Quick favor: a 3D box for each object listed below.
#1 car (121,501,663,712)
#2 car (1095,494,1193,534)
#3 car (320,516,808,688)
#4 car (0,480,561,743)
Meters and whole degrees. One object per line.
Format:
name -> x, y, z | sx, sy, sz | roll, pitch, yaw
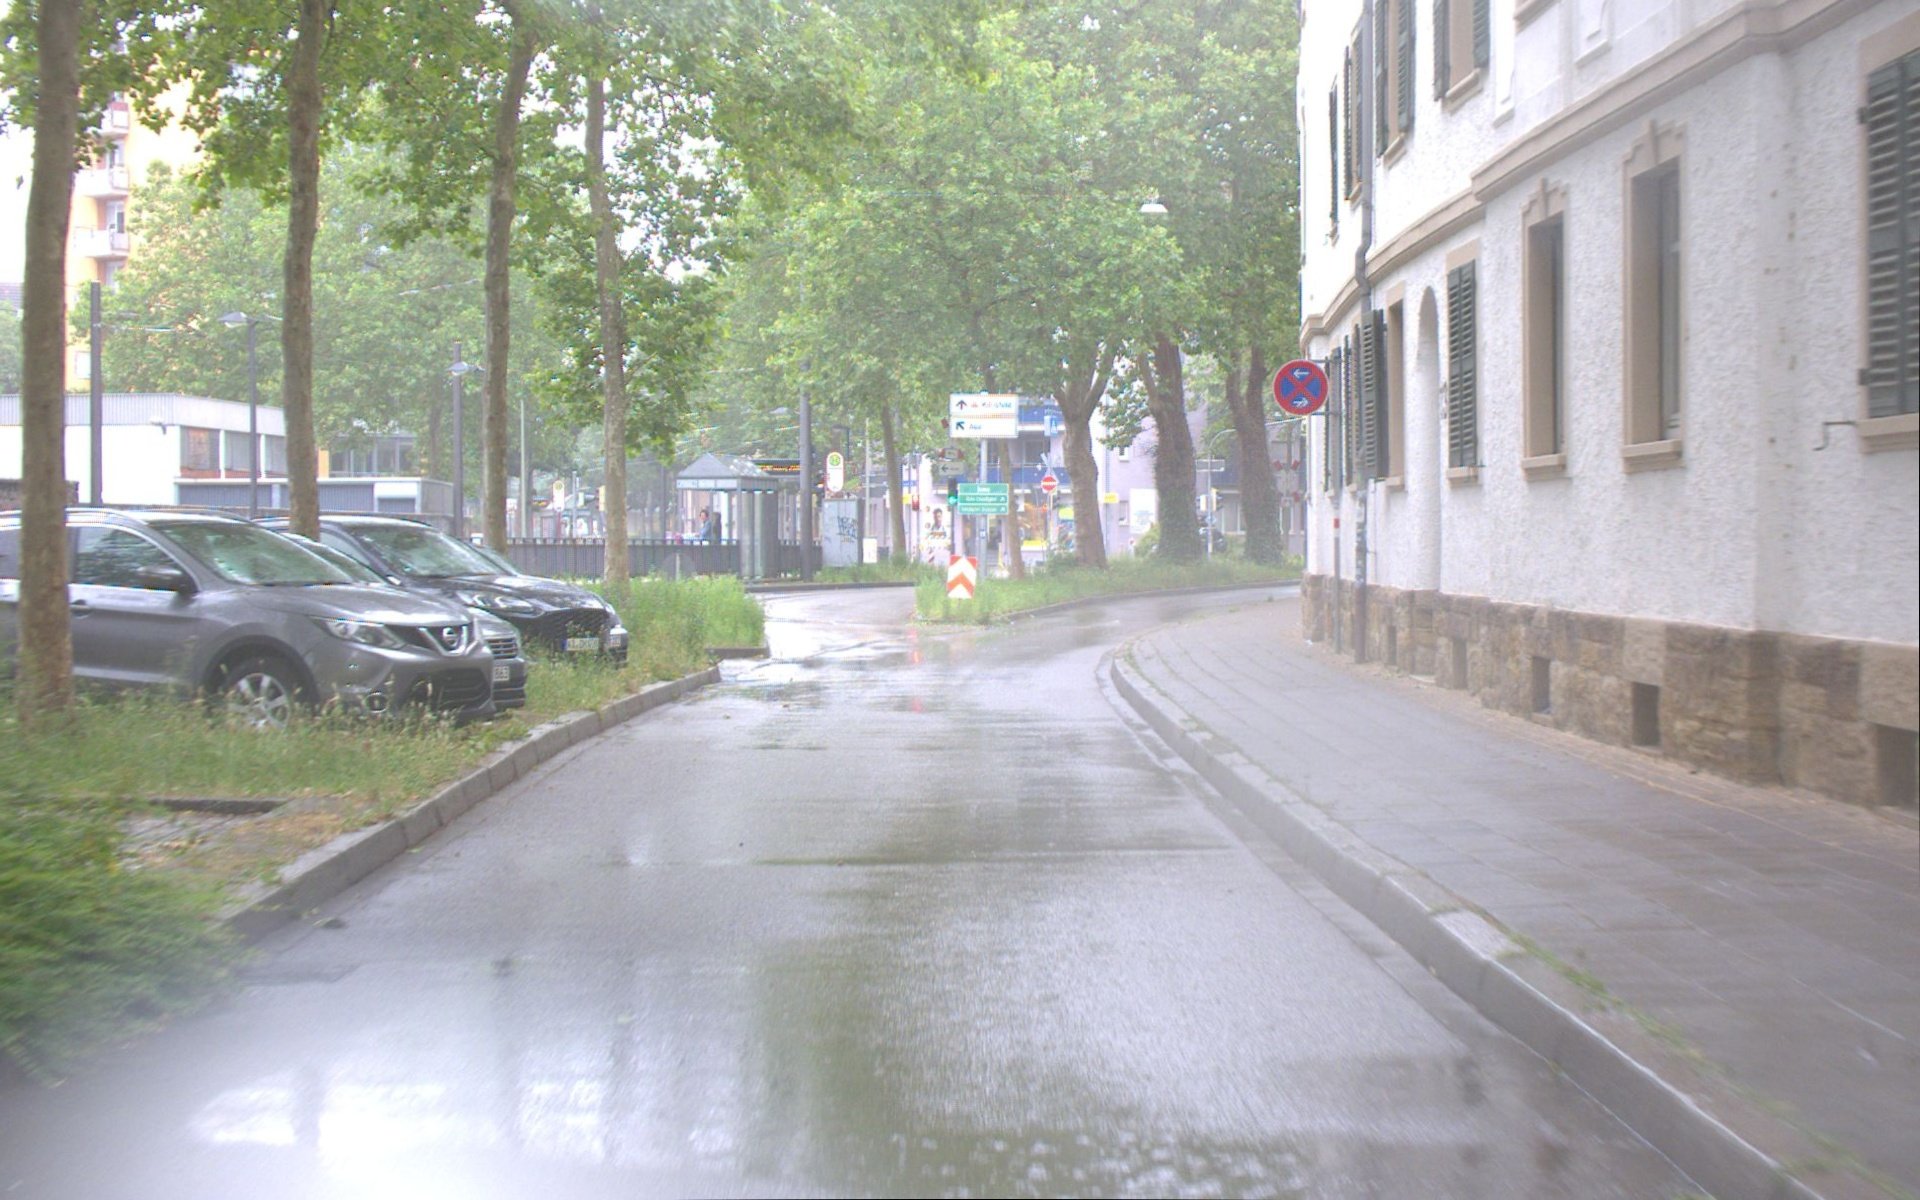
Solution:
car -> -5.094, 0.045, 30.689 | 4.525, 1.708, 1.957 | 0, 3, 31
car -> 8.017, -3.735, 149.428 | 3.989, 1.592, 1.999 | 2, 1, -43
car -> -3.855, 0.015, 33.308 | 4.358, 1.507, 1.957 | 0, 3, 31
car -> -5.066, 0.014, 22.845 | 4.464, 1.591, 1.921 | 1, 2, 26
